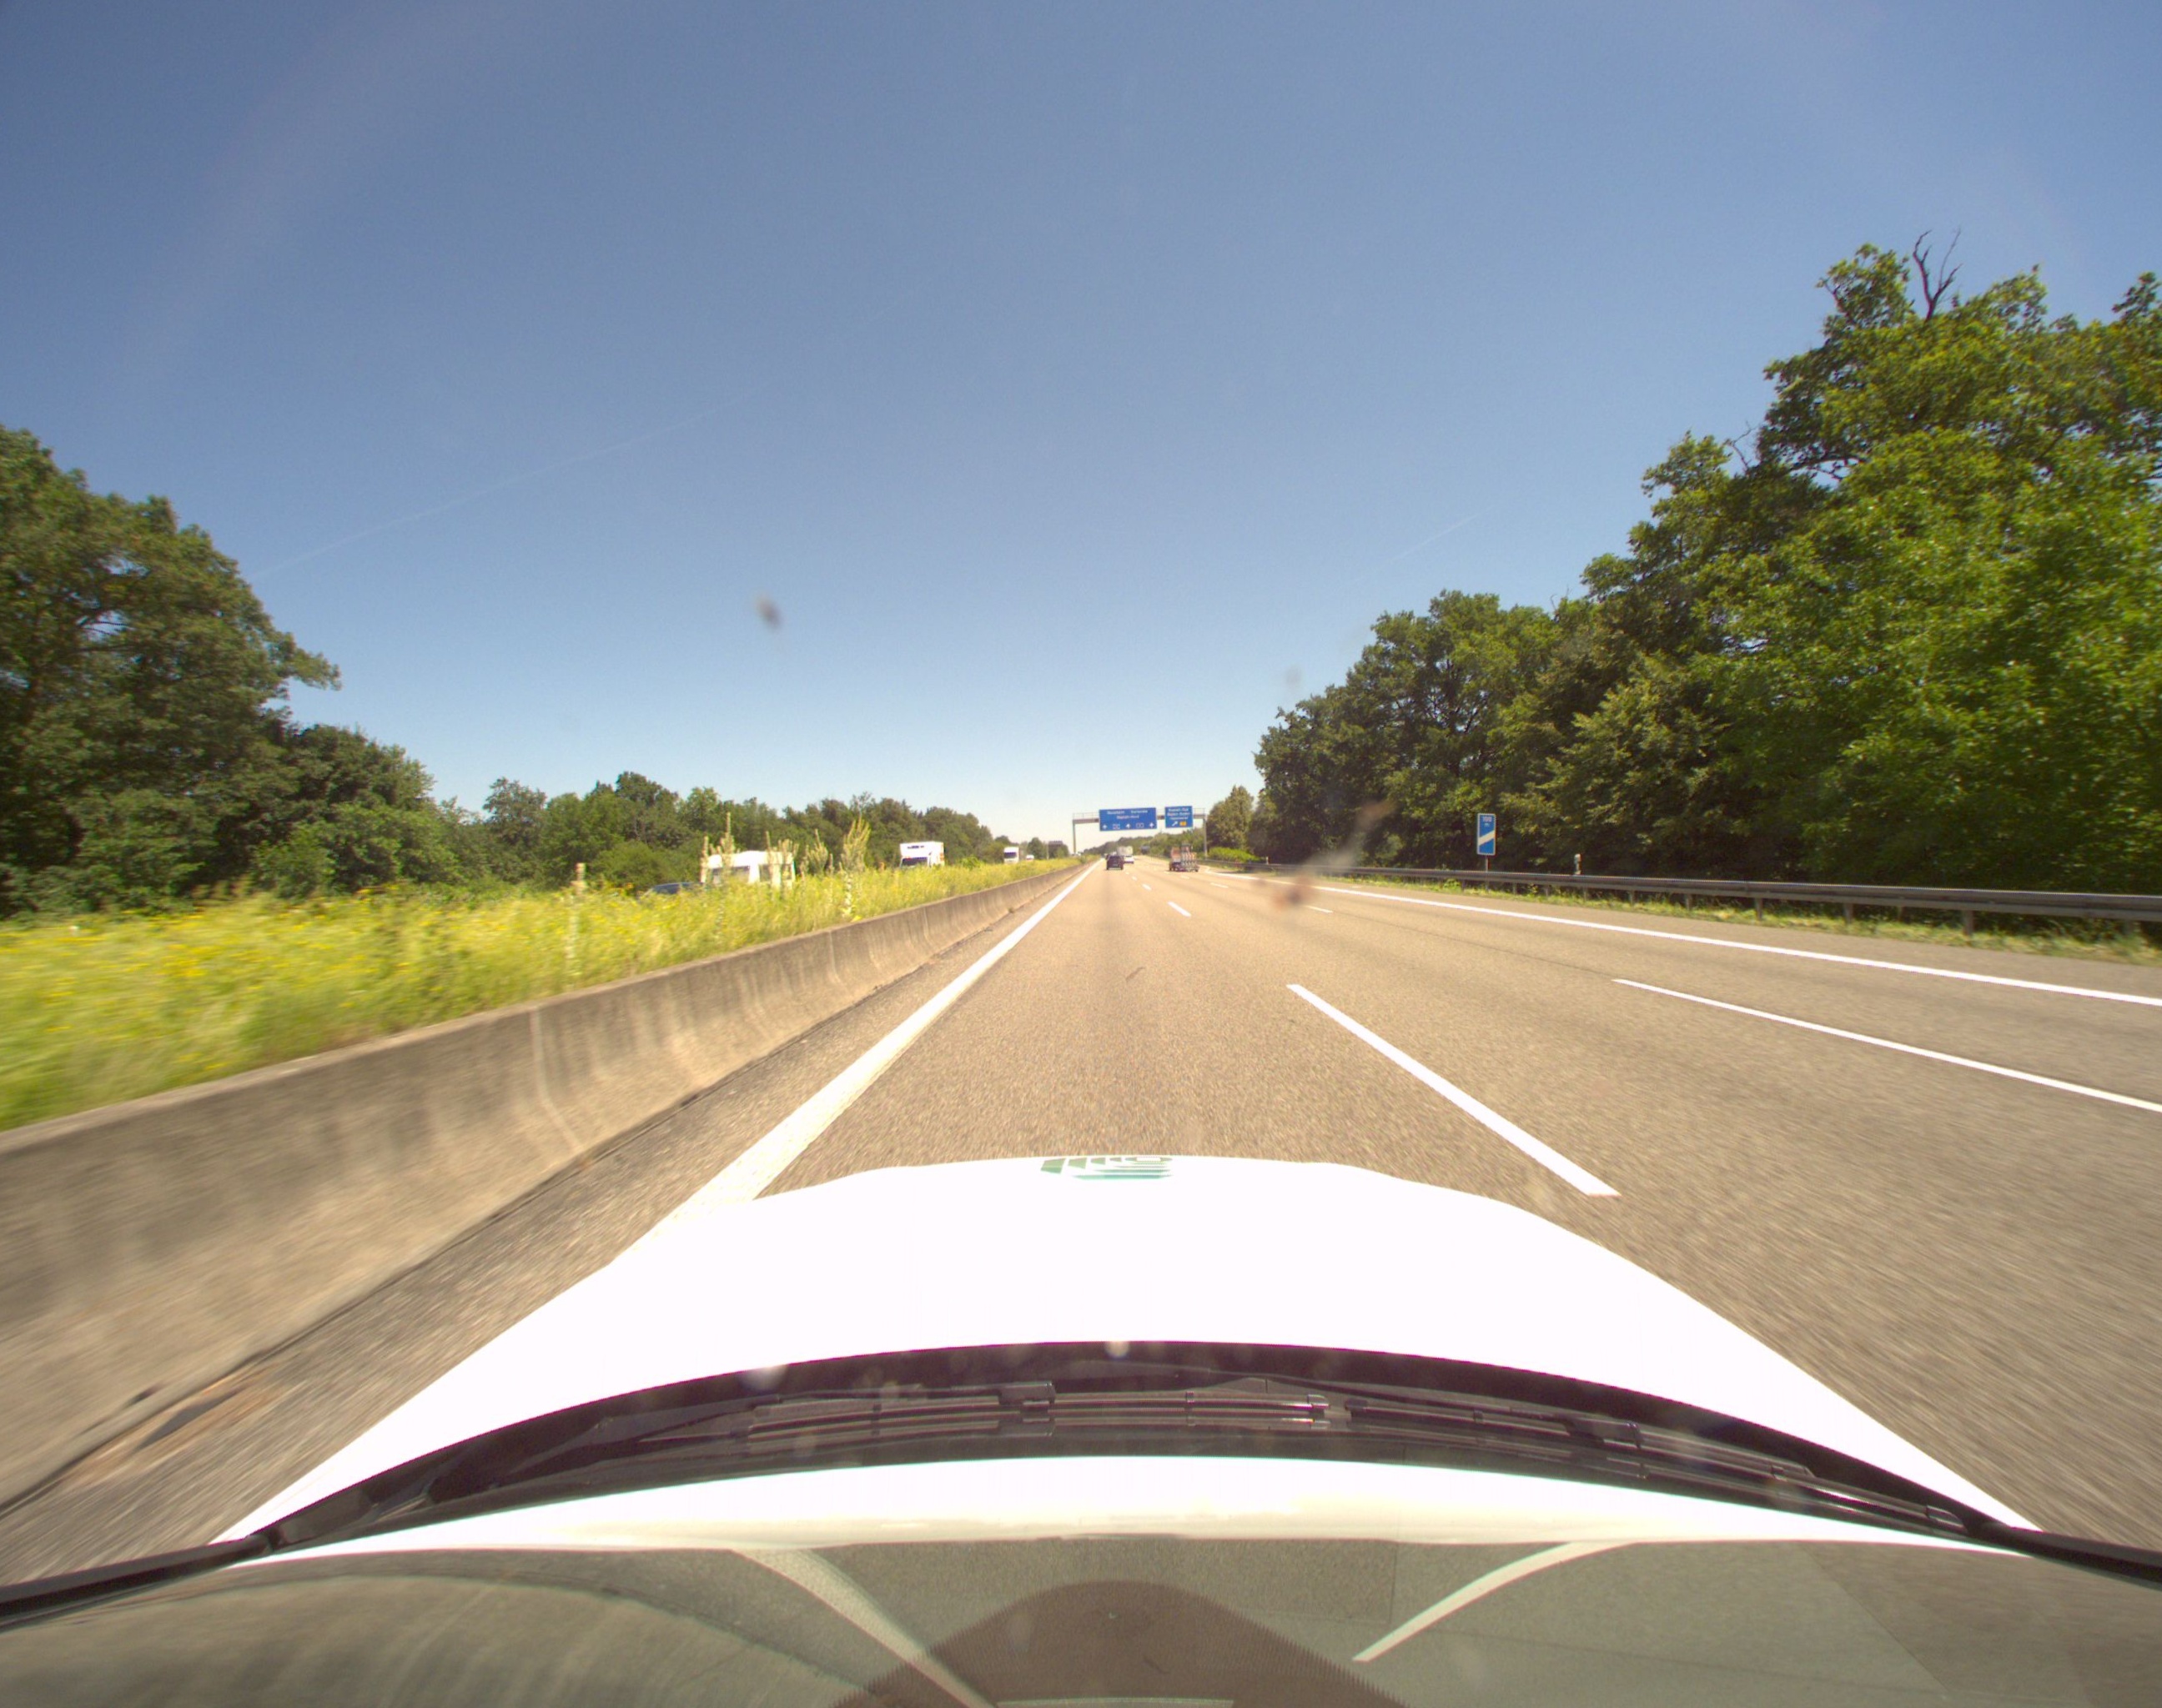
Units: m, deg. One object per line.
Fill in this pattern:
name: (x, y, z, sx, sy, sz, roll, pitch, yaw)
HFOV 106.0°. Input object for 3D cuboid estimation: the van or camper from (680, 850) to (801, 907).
van or camper: (-13.203, 0.911, 32.095, 2.214, 2.014, 5.887, -1, -1, 0)

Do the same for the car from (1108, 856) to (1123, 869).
car: (4.061, 1.005, 96.158, 1.655, 1.549, 3.782, -2, -1, 0)

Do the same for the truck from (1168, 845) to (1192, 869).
truck: (10.353, 0.295, 85.591, 1.987, 2.374, 4.644, -1, 0, 0)

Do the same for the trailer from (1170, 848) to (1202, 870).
trailer: (10.299, 0.503, 80.234, 2.412, 2.013, 6.033, -1, 0, 0)

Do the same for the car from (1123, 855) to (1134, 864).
car: (8.428, 1.013, 145.202, 1.734, 1.486, 4.001, -1, -1, 1)

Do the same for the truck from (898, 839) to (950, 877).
truck: (-10.506, 0.294, 54.882, 2.303, 2.326, 6.078, -1, -1, 0)

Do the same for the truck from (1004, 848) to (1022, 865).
truck: (-12.750, 0.525, 152.050, 2.633, 3.084, 5.850, -1, 0, 2)

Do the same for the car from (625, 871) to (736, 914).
car: (-13.216, 1.233, 27.168, 1.699, 1.243, 4.000, -1, -1, 0)

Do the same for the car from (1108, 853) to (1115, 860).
car: (9.343, 0.830, 251.727, 1.986, 2.014, 4.000, -3, -1, 1)
